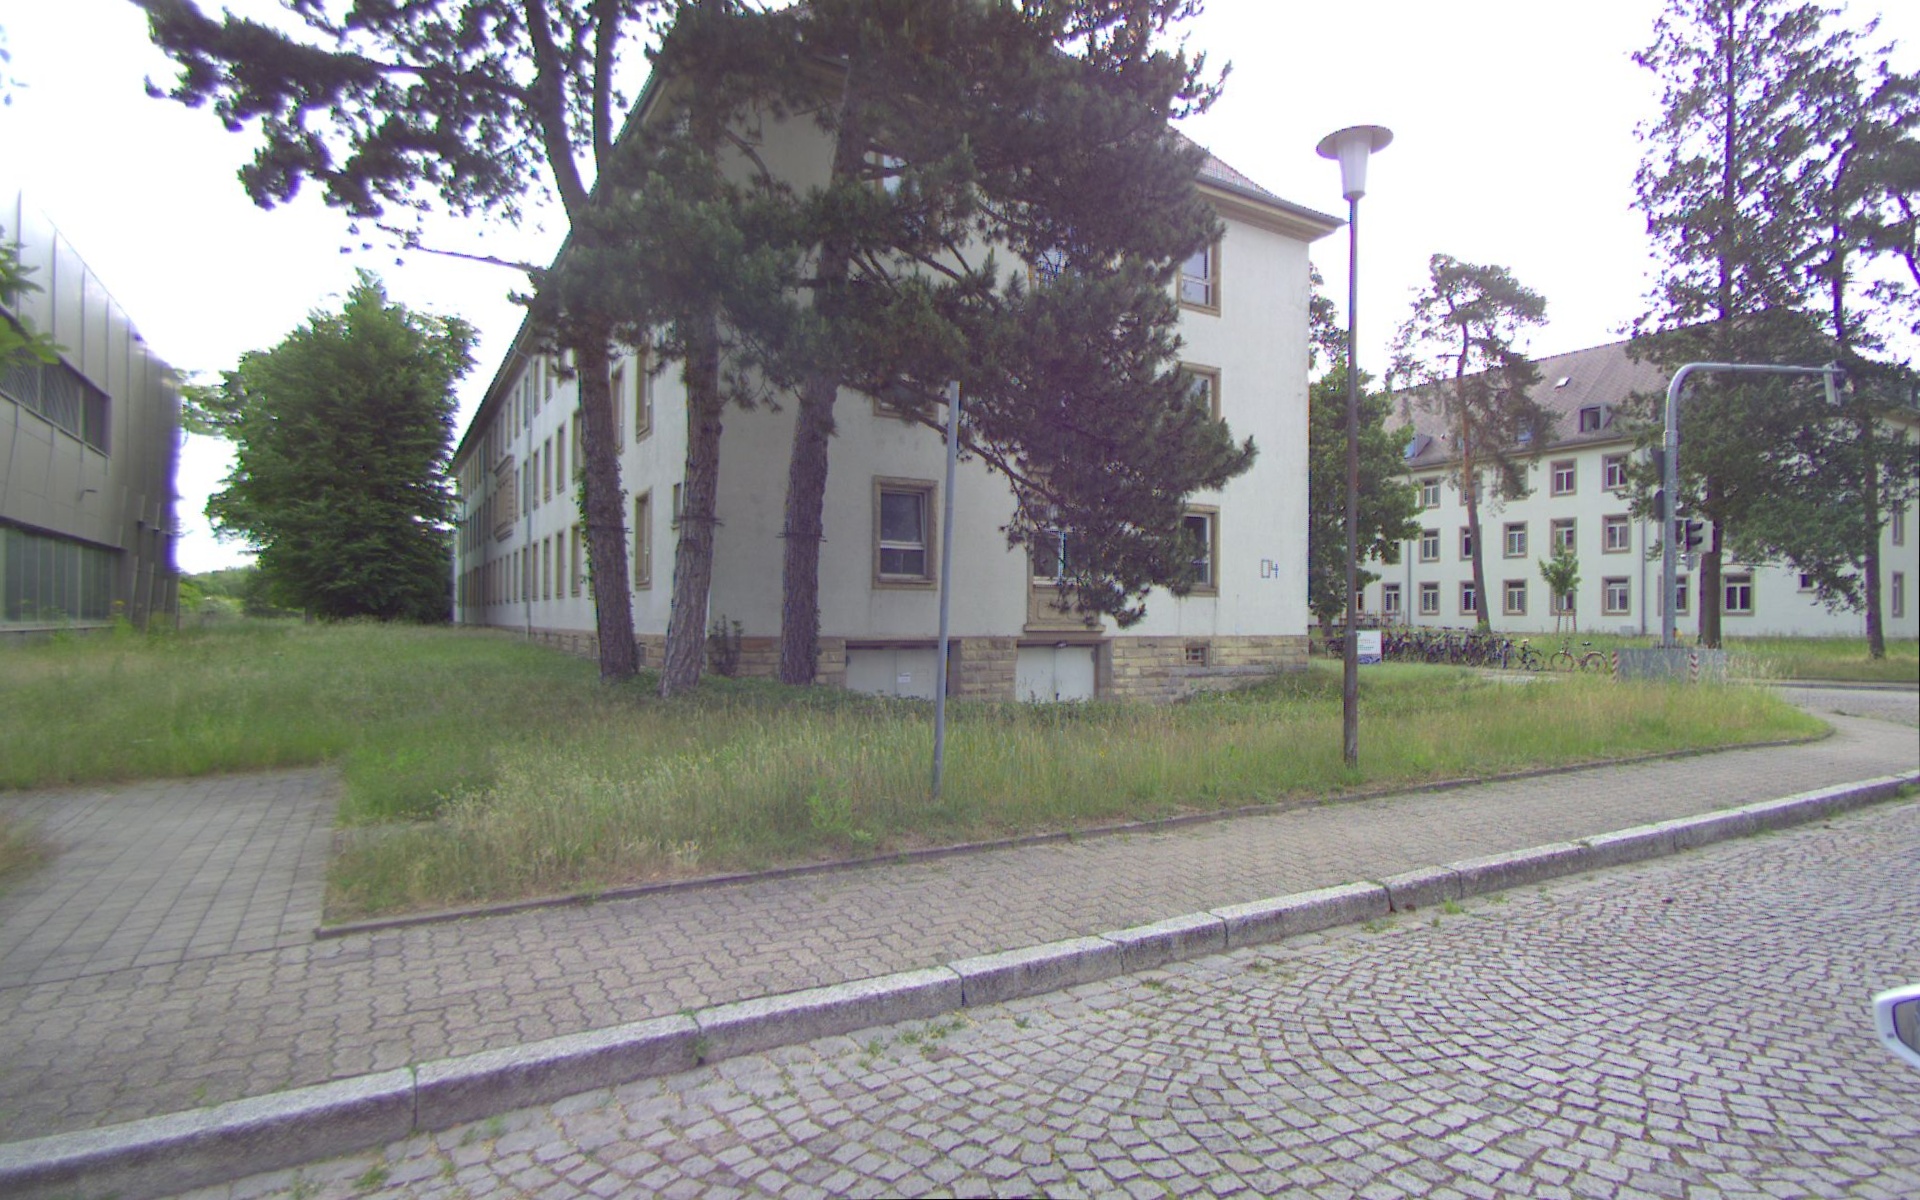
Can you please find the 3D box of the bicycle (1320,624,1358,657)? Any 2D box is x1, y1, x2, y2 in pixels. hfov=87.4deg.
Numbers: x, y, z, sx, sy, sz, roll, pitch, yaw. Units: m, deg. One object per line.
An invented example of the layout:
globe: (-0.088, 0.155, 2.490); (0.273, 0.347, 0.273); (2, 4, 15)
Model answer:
bicycle: (15.219, 1.631, 40.328); (1.808, 1.300, 0.446); (1, -1, -33)

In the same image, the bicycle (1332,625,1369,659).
bicycle: (15.565, 1.668, 39.999); (1.766, 1.300, 0.440); (1, -1, -33)

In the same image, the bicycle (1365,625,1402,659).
bicycle: (16.257, 1.596, 38.523); (1.677, 1.300, 0.446); (1, -1, -33)

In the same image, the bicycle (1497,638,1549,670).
bicycle: (18.242, 1.744, 32.577); (0.447, 1.009, 1.453); (1, -1, -29)

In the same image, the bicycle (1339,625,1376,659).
bicycle: (15.639, 1.638, 39.492); (1.677, 1.300, 0.446); (1, -1, -33)

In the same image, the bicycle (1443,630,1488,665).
bicycle: (17.997, 1.683, 35.737); (1.909, 1.193, 0.524); (1, -1, -33)

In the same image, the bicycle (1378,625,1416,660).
bicycle: (16.563, 1.602, 38.052); (1.677, 1.300, 0.446); (1, -1, -33)

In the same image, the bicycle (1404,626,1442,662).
bicycle: (17.152, 1.614, 37.221); (1.677, 1.300, 0.446); (1, -1, -33)

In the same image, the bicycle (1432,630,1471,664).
bicycle: (17.689, 1.689, 36.147); (1.677, 1.193, 0.446); (1, -1, -33)

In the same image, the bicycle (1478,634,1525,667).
bicycle: (18.688, 1.736, 34.665); (1.975, 1.092, 0.571); (1, -1, -33)

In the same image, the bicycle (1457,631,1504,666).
bicycle: (18.256, 1.687, 35.210); (1.933, 1.193, 0.571); (1, -1, -33)

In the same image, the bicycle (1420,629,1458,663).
bicycle: (17.425, 1.671, 36.553); (1.677, 1.193, 0.446); (1, -1, -33)

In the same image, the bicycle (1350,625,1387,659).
bicycle: (15.896, 1.643, 39.080); (1.677, 1.300, 0.446); (1, -1, -33)

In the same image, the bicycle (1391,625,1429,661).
bicycle: (16.861, 1.608, 37.633); (1.677, 1.300, 0.446); (1, -1, -33)

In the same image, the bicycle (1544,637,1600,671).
bicycle: (19.037, 1.665, 31.278); (0.447, 1.009, 1.453); (1, -1, -29)
